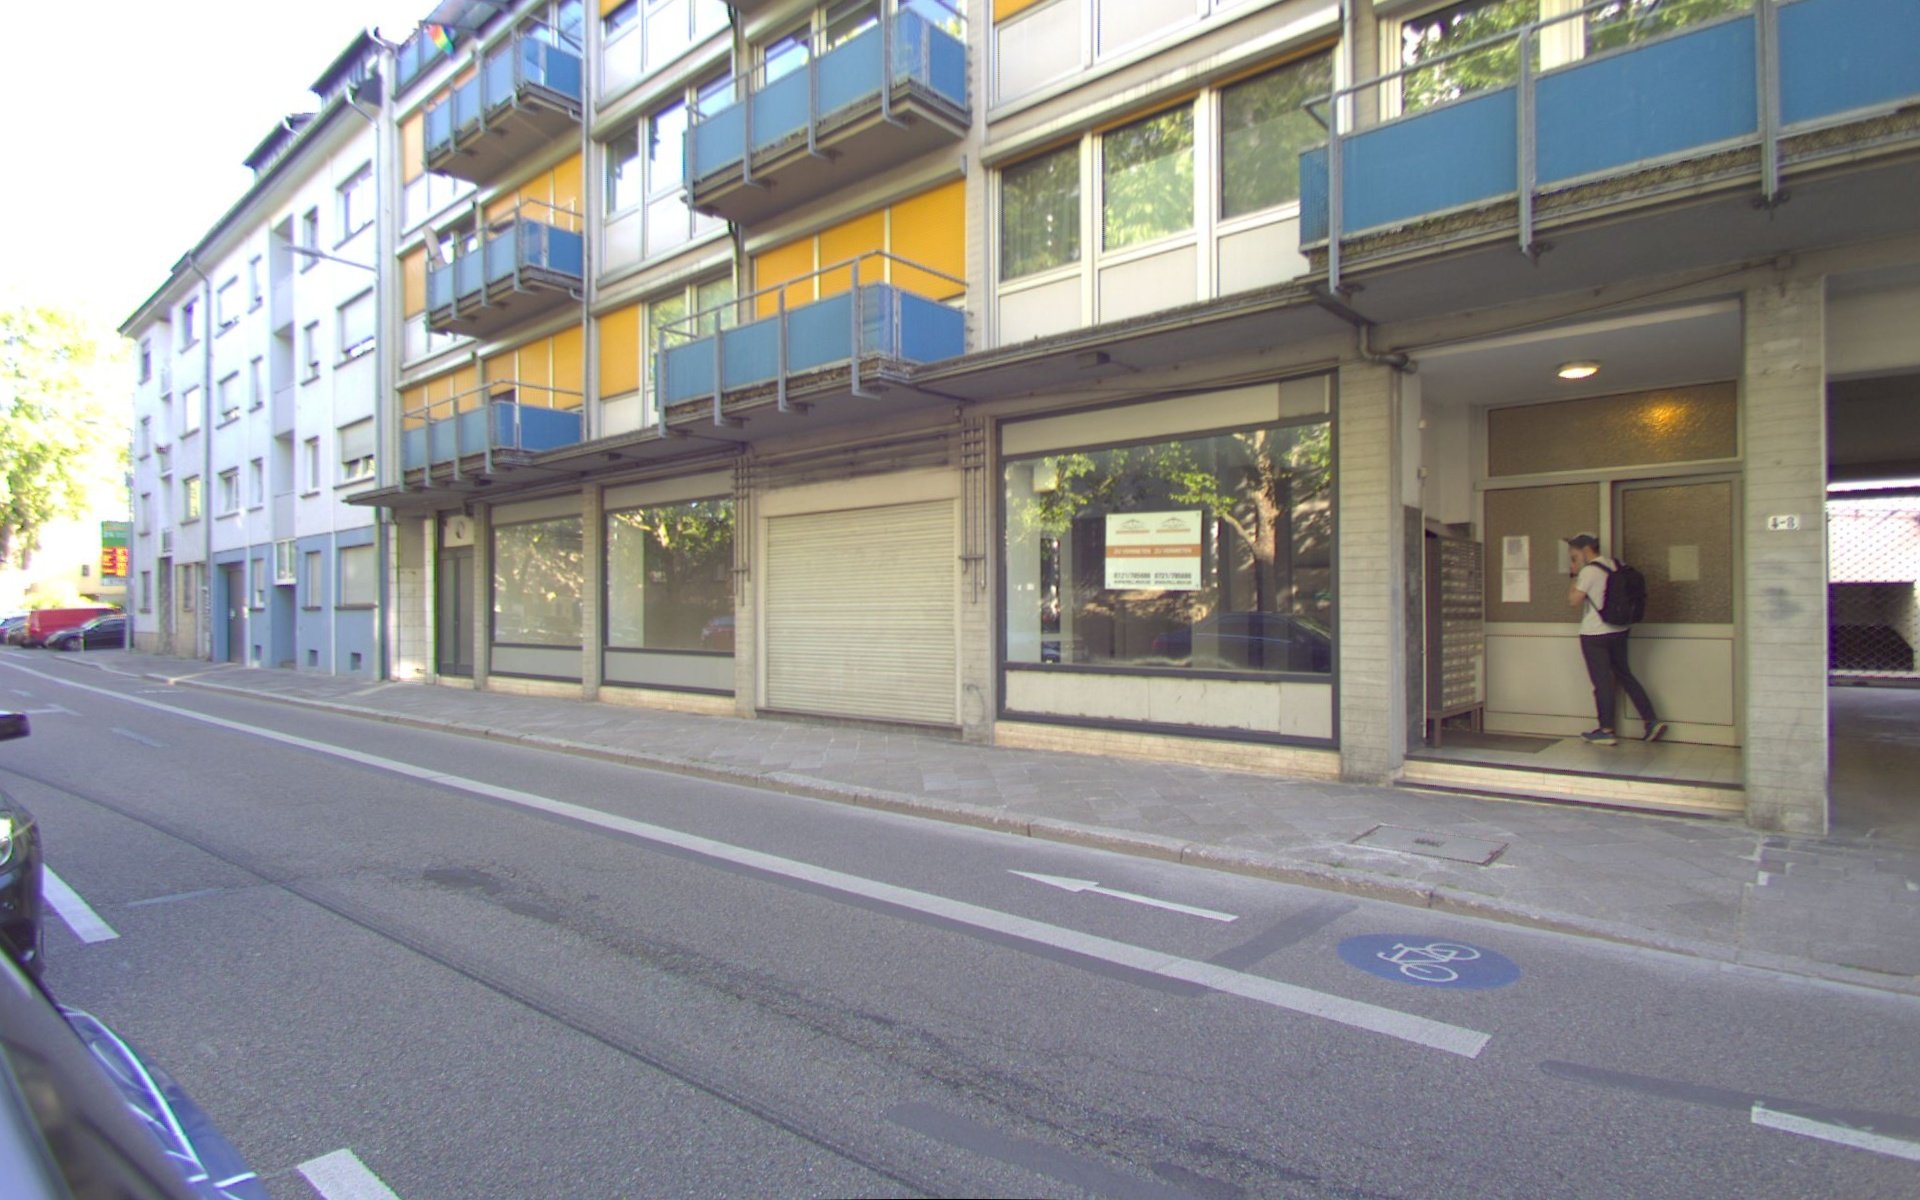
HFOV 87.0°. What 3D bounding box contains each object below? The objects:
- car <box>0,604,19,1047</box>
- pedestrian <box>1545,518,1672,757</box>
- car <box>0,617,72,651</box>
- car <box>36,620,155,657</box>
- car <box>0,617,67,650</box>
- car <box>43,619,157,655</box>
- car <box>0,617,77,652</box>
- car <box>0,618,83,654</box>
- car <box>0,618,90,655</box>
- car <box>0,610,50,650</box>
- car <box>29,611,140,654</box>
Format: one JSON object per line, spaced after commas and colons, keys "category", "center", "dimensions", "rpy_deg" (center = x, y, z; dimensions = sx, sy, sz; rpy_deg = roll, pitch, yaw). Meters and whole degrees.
{"category": "car", "center": [-5.534, 0.811, 4.279], "dimensions": [4.479, 1.512, 1.842], "rpy_deg": [-1, -1, 41]}
{"category": "pedestrian", "center": [5.398, 0.302, 8.462], "dimensions": [0.782, 1.894, 0.577], "rpy_deg": [-1, 0, 24]}
{"category": "car", "center": [-57.420, 2.090, 62.281], "dimensions": [2.000, 1.962, 3.944], "rpy_deg": [-1, 0, 42]}
{"category": "car", "center": [-39.769, 1.730, 46.604], "dimensions": [2.000, 1.564, 3.944], "rpy_deg": [-1, 0, 42]}
{"category": "car", "center": [-59.219, 2.114, 64.014], "dimensions": [2.000, 1.962, 3.944], "rpy_deg": [-1, 0, 42]}
{"category": "car", "center": [-41.187, 1.748, 48.525], "dimensions": [2.000, 1.564, 3.944], "rpy_deg": [-1, 0, 42]}
{"category": "car", "center": [-55.614, 2.067, 60.563], "dimensions": [2.000, 1.962, 3.944], "rpy_deg": [-1, 0, 42]}
{"category": "car", "center": [-53.533, 2.040, 58.611], "dimensions": [2.000, 1.962, 3.944], "rpy_deg": [-1, 0, 42]}
{"category": "car", "center": [-51.582, 2.015, 56.828], "dimensions": [2.000, 1.962, 3.944], "rpy_deg": [-1, 0, 42]}
{"category": "car", "center": [-62.811, 1.960, 66.783], "dimensions": [2.000, 2.538, 3.944], "rpy_deg": [-1, 0, 42]}
{"category": "car", "center": [-43.442, 1.578, 50.250], "dimensions": [2.000, 1.962, 3.944], "rpy_deg": [-1, 0, 42]}
